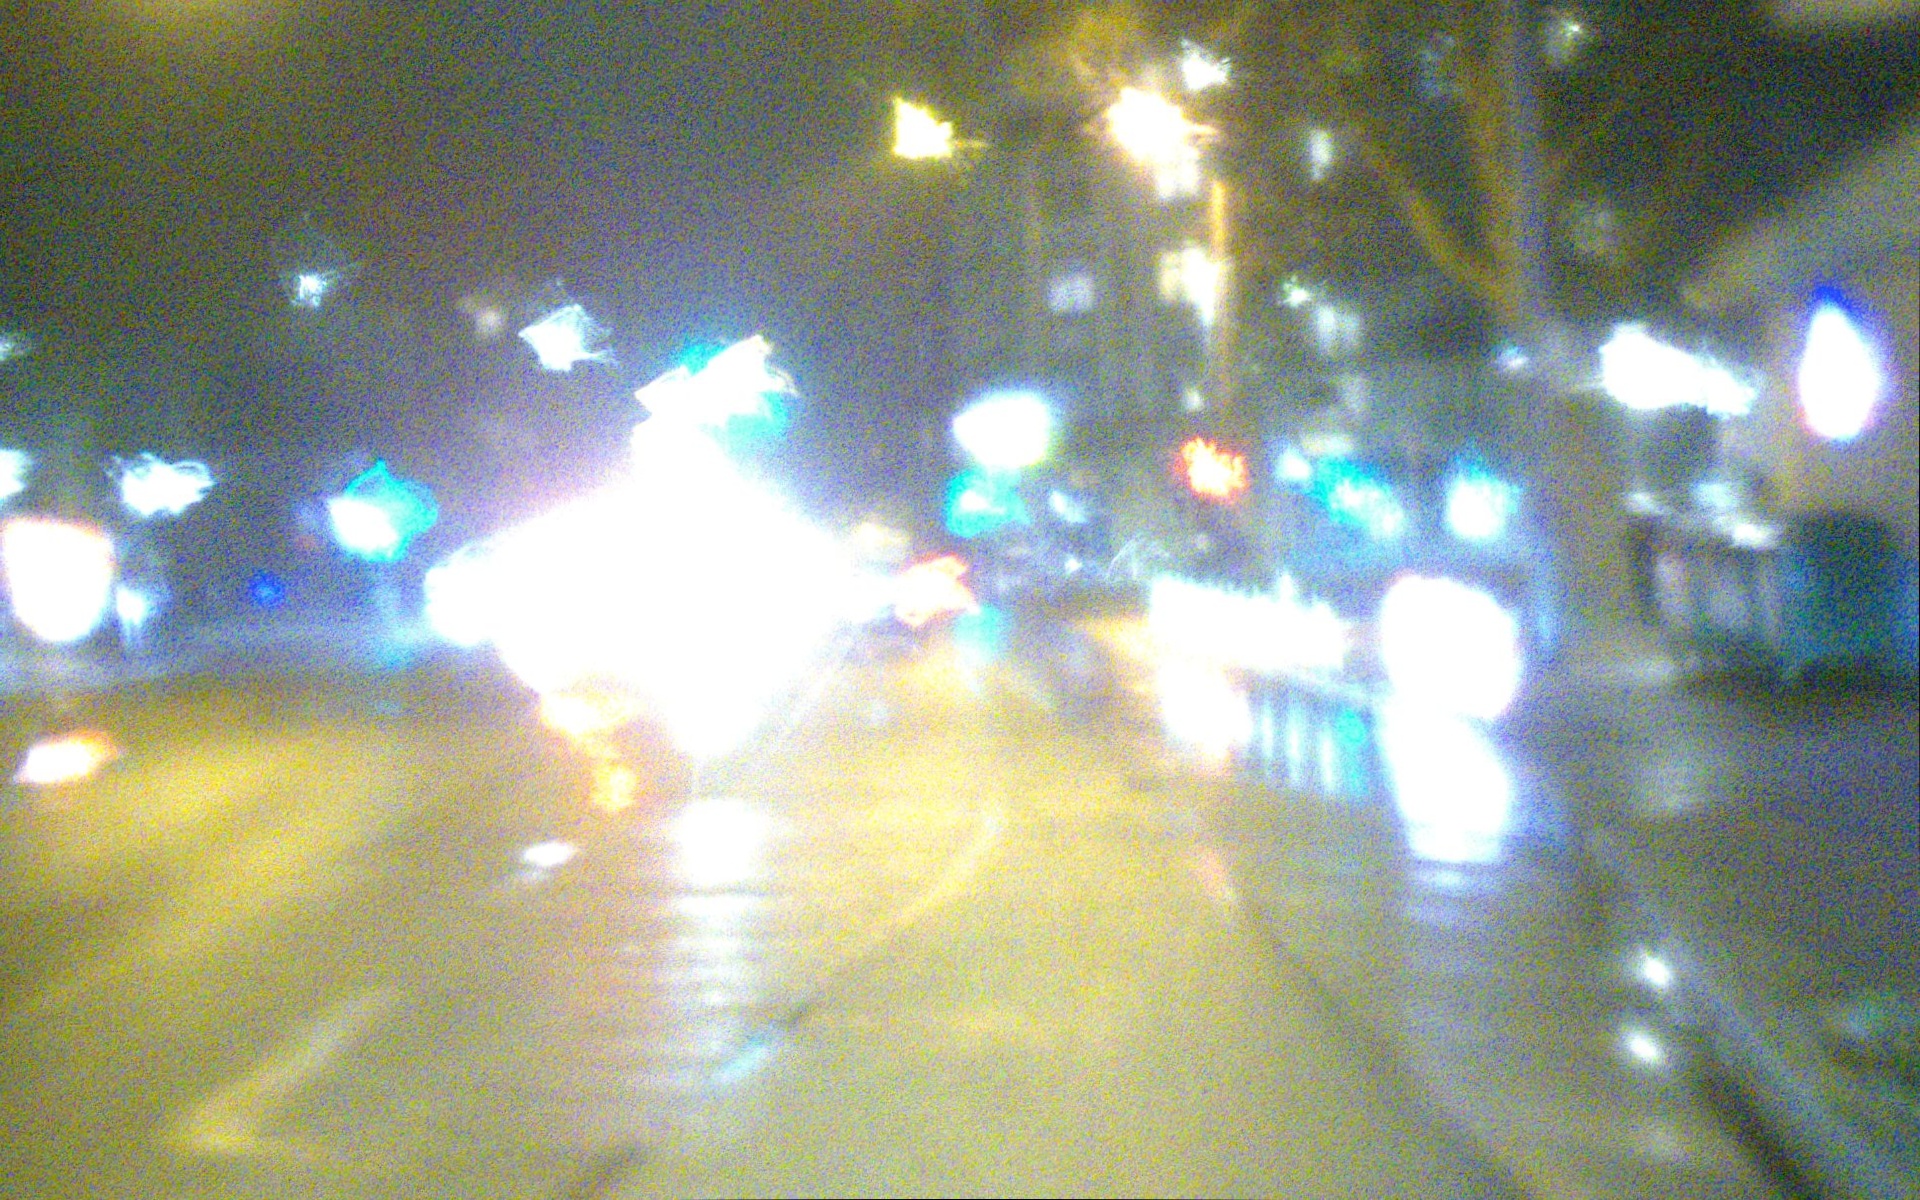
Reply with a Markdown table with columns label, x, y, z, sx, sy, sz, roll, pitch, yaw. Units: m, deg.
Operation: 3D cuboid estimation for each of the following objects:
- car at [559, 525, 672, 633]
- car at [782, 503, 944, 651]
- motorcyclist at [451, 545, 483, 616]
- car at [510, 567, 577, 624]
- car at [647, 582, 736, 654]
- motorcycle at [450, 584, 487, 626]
| label | x | y | z | sx | sy | sz | roll | pitch | yaw |
| --- | --- | --- | --- | --- | --- | --- | --- | --- | --- |
| car | -7.015 | -0.475 | 70.432 | 2.034 | 1.946 | 5.201 | -4 | 2 | -4 |
| car | -1.415 | -0.356 | 50.249 | 2.168 | 1.965 | 4.302 | -3 | 1 | -2 |
| motorcyclist | -14.414 | -0.578 | 100.543 | 0.693 | 2.006 | 0.983 | -3 | 1 | 1 |
| car | -12.312 | -0.156 | 101.531 | 1.852 | 1.494 | 4.771 | -3 | 2 | -7 |
| car | -6.258 | 0.387 | 79.706 | 1.817 | 1.537 | 4.727 | -2 | 1 | -7 |
| motorcycle | -14.376 | 0.144 | 100.616 | 0.701 | 1.134 | 2.176 | -3 | 1 | 1 |
